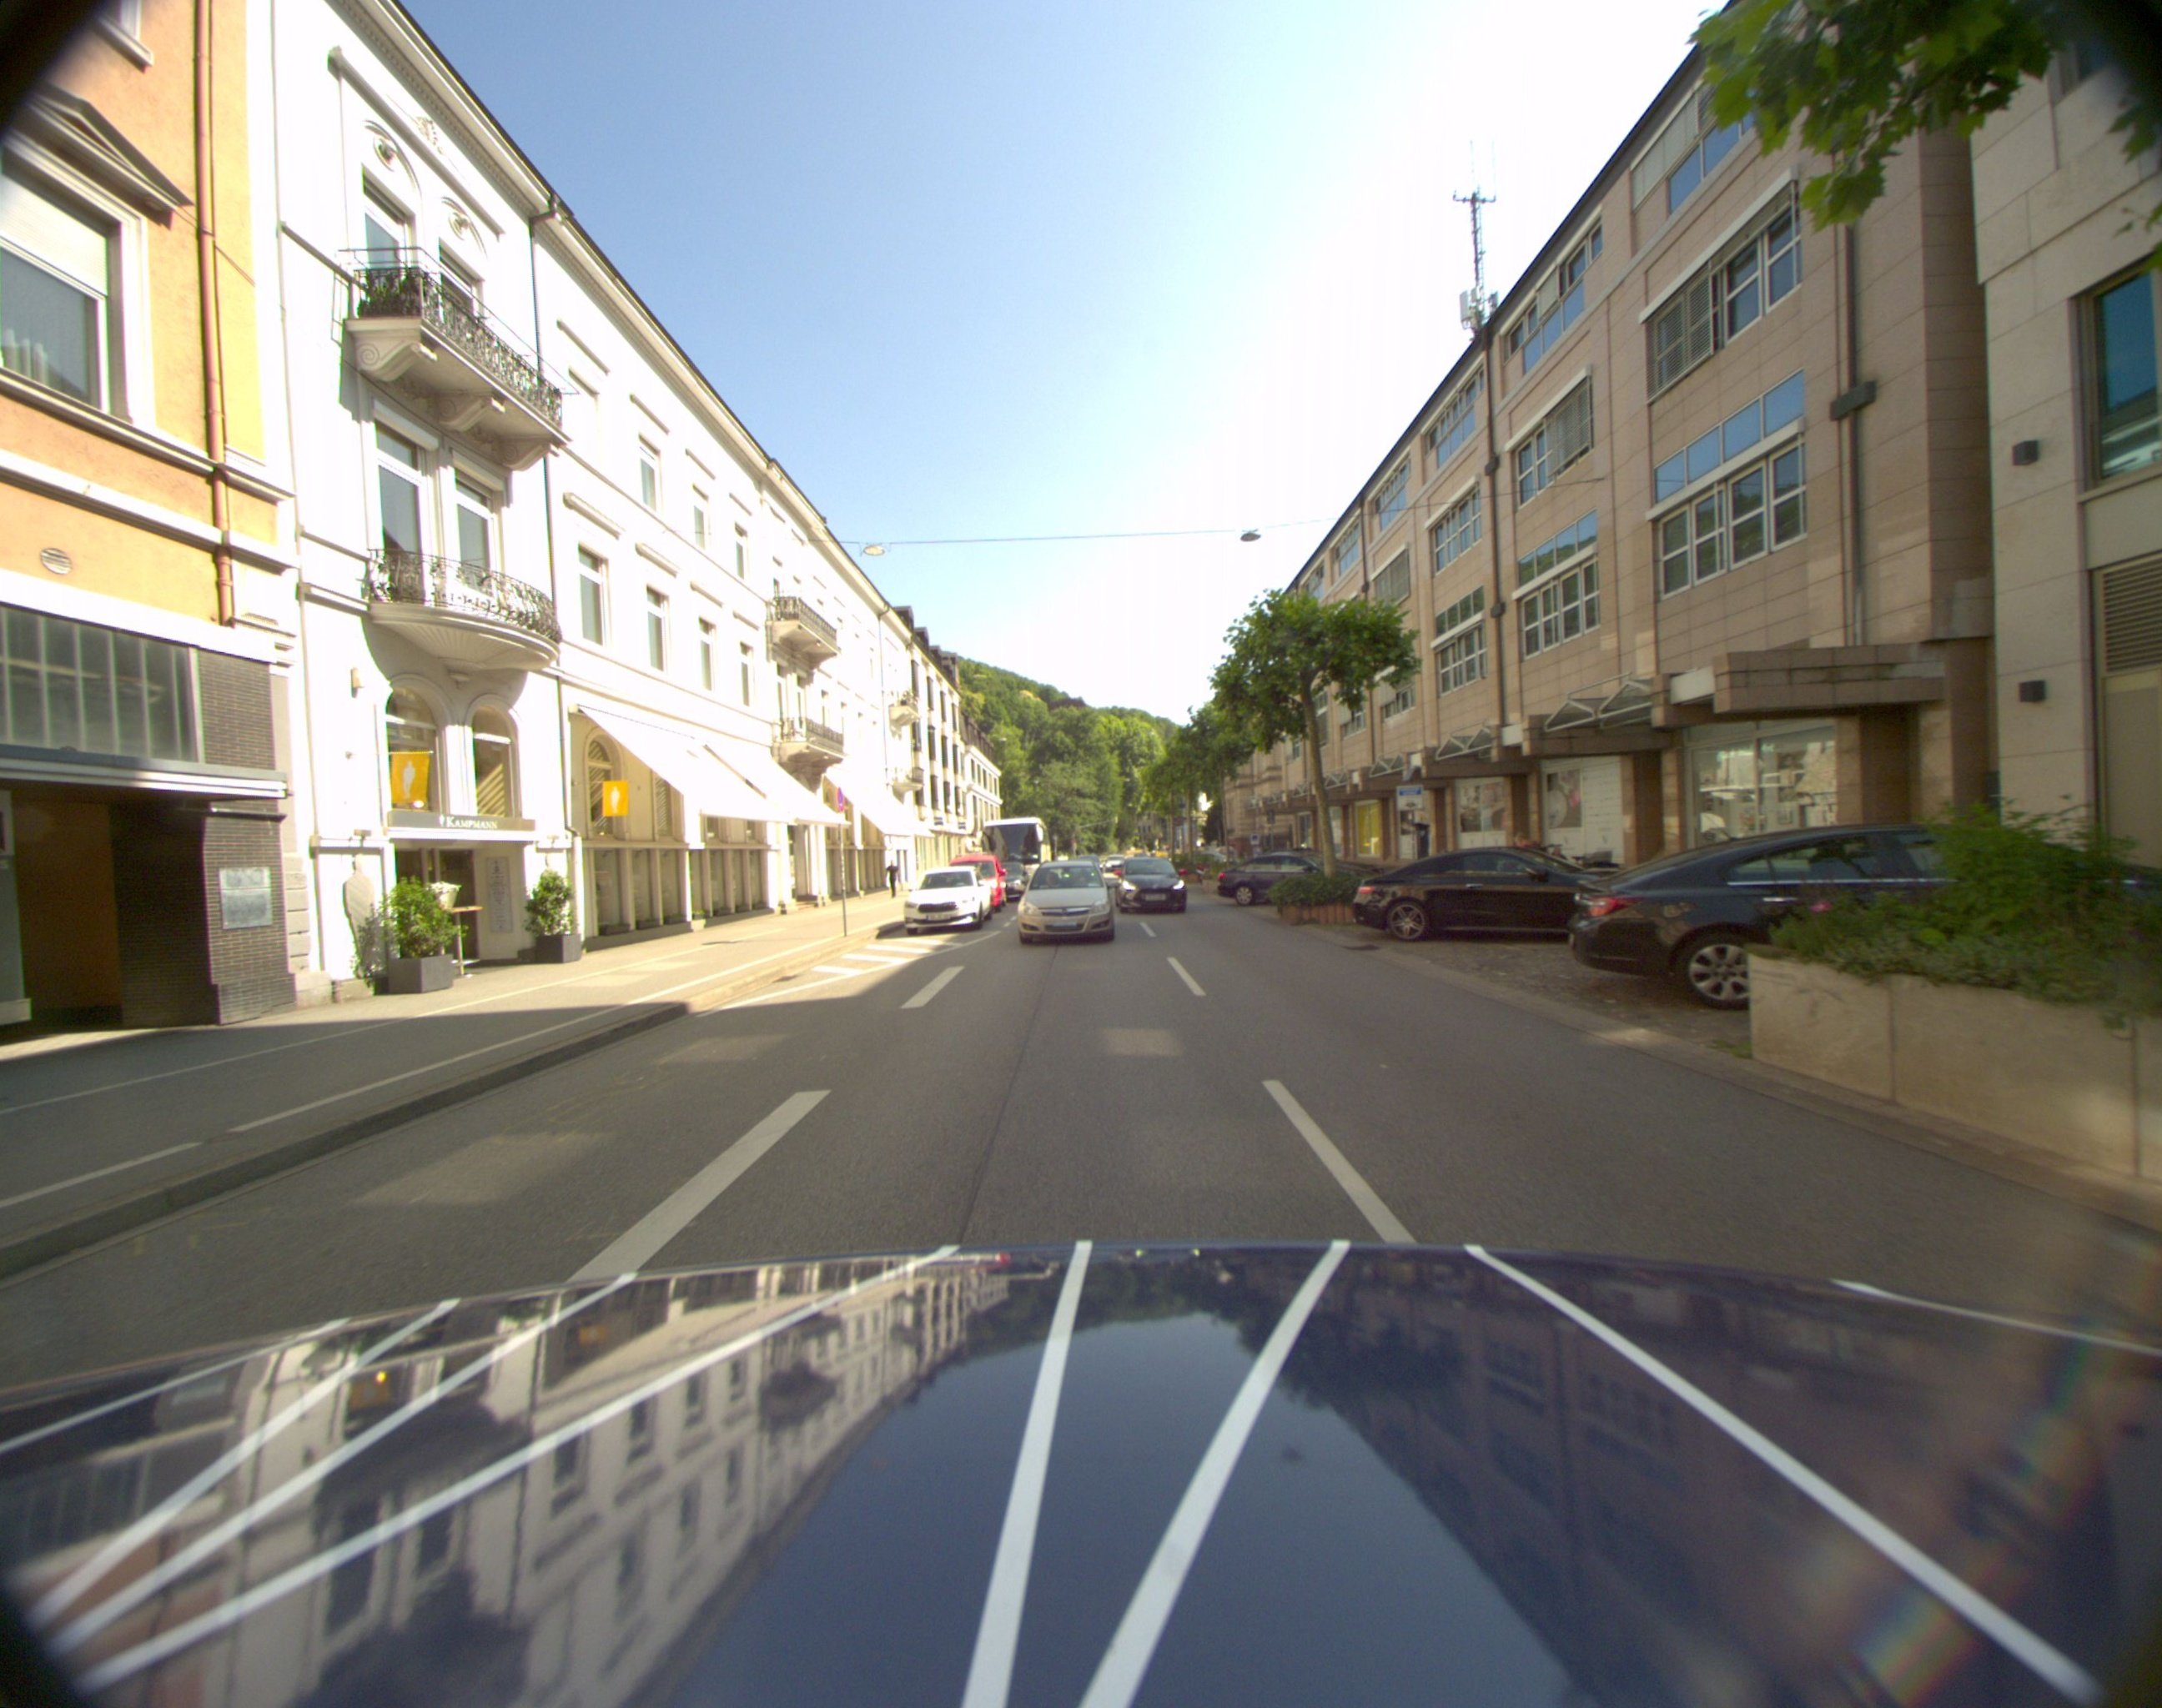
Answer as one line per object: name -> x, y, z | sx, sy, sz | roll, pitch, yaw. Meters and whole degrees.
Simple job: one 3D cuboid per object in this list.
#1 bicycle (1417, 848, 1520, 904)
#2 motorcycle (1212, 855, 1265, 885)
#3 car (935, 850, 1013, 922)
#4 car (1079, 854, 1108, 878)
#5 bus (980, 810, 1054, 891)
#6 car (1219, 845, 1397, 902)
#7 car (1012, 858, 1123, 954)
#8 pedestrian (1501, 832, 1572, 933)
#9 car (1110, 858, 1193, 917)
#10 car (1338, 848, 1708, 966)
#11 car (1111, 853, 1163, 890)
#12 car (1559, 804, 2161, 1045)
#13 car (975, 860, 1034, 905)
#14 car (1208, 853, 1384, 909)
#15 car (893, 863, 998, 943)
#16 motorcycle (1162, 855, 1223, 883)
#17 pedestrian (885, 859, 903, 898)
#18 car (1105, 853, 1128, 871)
bicycle -> 8.763, 0.500, 17.234 | 2.001, 1.095, 0.476 | -5, 1, 2
motorcycle -> 6.989, 0.719, 33.805 | 2.056, 1.281, 0.980 | -2, 1, 39
car -> -3.301, 0.944, 24.273 | 1.703, 1.901, 4.607 | -7, 0, -1
car -> 0.808, 0.779, 49.537 | 1.775, 1.469, 4.107 | -1, -1, 1
bus -> -3.057, -0.209, 40.163 | 2.924, 3.516, 12.498 | -2, 1, -1
car -> 7.164, 0.627, 24.351 | 5.120, 1.623, 1.847 | -2, 0, 40
car -> -0.272, 0.874, 14.881 | 1.791, 1.484, 4.367 | -3, 0, -1
pedestrian -> 8.771, 0.536, 14.657 | 0.840, 1.868, 0.844 | -2, 1, 2
car -> 1.862, 0.881, 21.257 | 1.868, 1.469, 4.106 | -1, -1, -1
car -> 6.557, 0.712, 11.696 | 4.609, 1.438, 1.736 | -2, 0, 45
car -> 2.392, 0.727, 33.360 | 1.734, 1.389, 4.105 | -4, 1, -2
car -> 6.746, 0.573, 6.346 | 4.521, 1.496, 1.795 | -7, 0, 31
car -> -2.858, 1.031, 29.283 | 1.868, 1.479, 4.414 | -3, 0, -1
car -> 6.043, 0.758, 21.625 | 4.392, 1.438, 1.890 | -2, -1, 40
car -> -3.153, 1.089, 18.562 | 1.799, 1.516, 4.262 | -4, 1, -1
motorcycle -> 5.672, 0.760, 38.880 | 0.980, 1.342, 3.095 | -2, 0, -42
pedestrian -> -8.212, 1.068, 33.395 | 0.482, 1.659, 0.868 | -2, 1, 1
car -> 2.885, 0.634, 62.280 | 1.733, 1.389, 4.106 | -3, 0, 1
